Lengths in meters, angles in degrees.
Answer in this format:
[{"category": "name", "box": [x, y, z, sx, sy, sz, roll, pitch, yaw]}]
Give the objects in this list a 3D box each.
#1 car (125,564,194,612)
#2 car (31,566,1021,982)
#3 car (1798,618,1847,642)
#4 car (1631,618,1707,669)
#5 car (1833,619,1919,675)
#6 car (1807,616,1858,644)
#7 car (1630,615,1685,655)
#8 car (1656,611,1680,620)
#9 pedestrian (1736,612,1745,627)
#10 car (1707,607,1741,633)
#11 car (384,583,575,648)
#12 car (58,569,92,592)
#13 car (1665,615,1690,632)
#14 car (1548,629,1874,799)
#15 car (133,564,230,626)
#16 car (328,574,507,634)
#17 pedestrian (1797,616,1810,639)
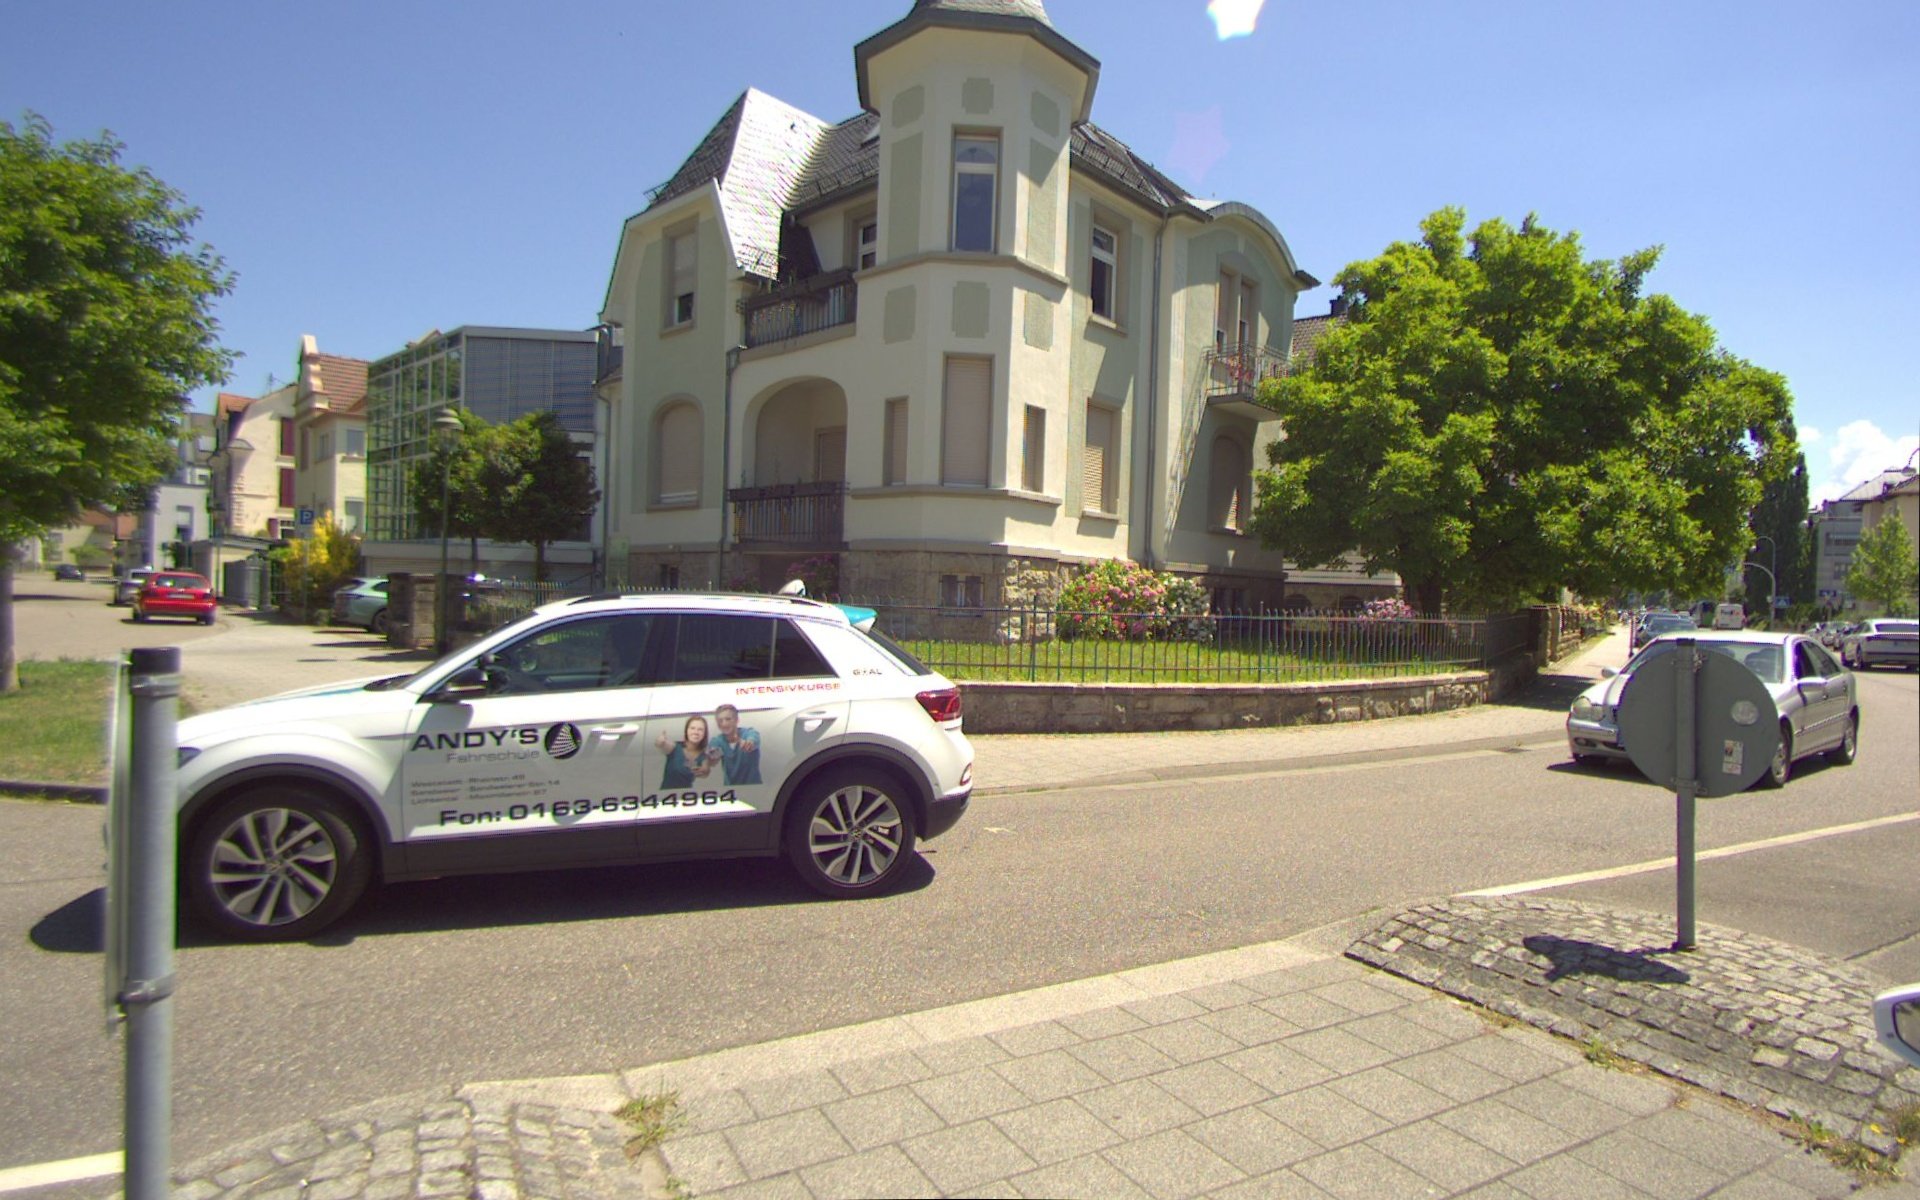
[{"category": "car", "box": [-32.187, -0.511, 40.351, 1.984, 1.802, 4.452, 1, 1, -41]}, {"category": "car", "box": [-1.972, 0.671, 5.579, 4.238, 1.645, 1.869, 0, 1, -20]}, {"category": "car", "box": [52.820, 1.807, 61.595, 1.702, 1.401, 4.389, 0, -1, 33]}, {"category": "car", "box": [24.083, 1.410, 34.211, 1.900, 1.456, 4.644, 5, 2, 34]}, {"category": "car", "box": [29.812, 1.476, 32.368, 1.910, 1.635, 4.458, -3, -2, 34]}, {"category": "car", "box": [50.076, 1.713, 57.731, 1.636, 1.508, 4.333, 0, -1, 33]}, {"category": "car", "box": [32.188, 1.570, 46.420, 1.900, 1.594, 4.644, 5, 2, 34]}, {"category": "car", "box": [148.546, 3.251, 210.824, 3.942, 1.673, 1.989, 2, 0, 42]}, {"category": "pedestrian", "box": [92.614, 2.276, 119.182, 0.683, 1.759, 0.667, 1, 0, 30]}, {"category": "car", "box": [68.992, 1.774, 90.766, 2.041, 2.226, 5.124, 0, -1, 33]}, {"category": "car", "box": [-12.066, 0.372, 25.312, 3.969, 1.445, 1.976, 1, 2, -41]}, {"category": "car", "box": [-71.793, -1.610, 81.439, 1.986, 1.802, 4.449, 1, 1, -42]}, {"category": "car", "box": [72.705, 2.355, 101.856, 1.948, 1.693, 4.457, 1, 0, 35]}, {"category": "car", "box": [8.148, 1.048, 10.765, 4.265, 1.454, 1.745, 1, -1, -38]}, {"category": "car", "box": [-22.476, -0.169, 28.921, 1.984, 1.640, 4.452, 1, 1, -41]}, {"category": "car", "box": [-14.482, 0.104, 26.909, 3.966, 1.454, 1.859, 1, 2, -39]}, {"category": "pedestrian", "box": [64.722, 2.106, 77.099, 0.628, 1.782, 0.616, 2, 1, 30]}]
